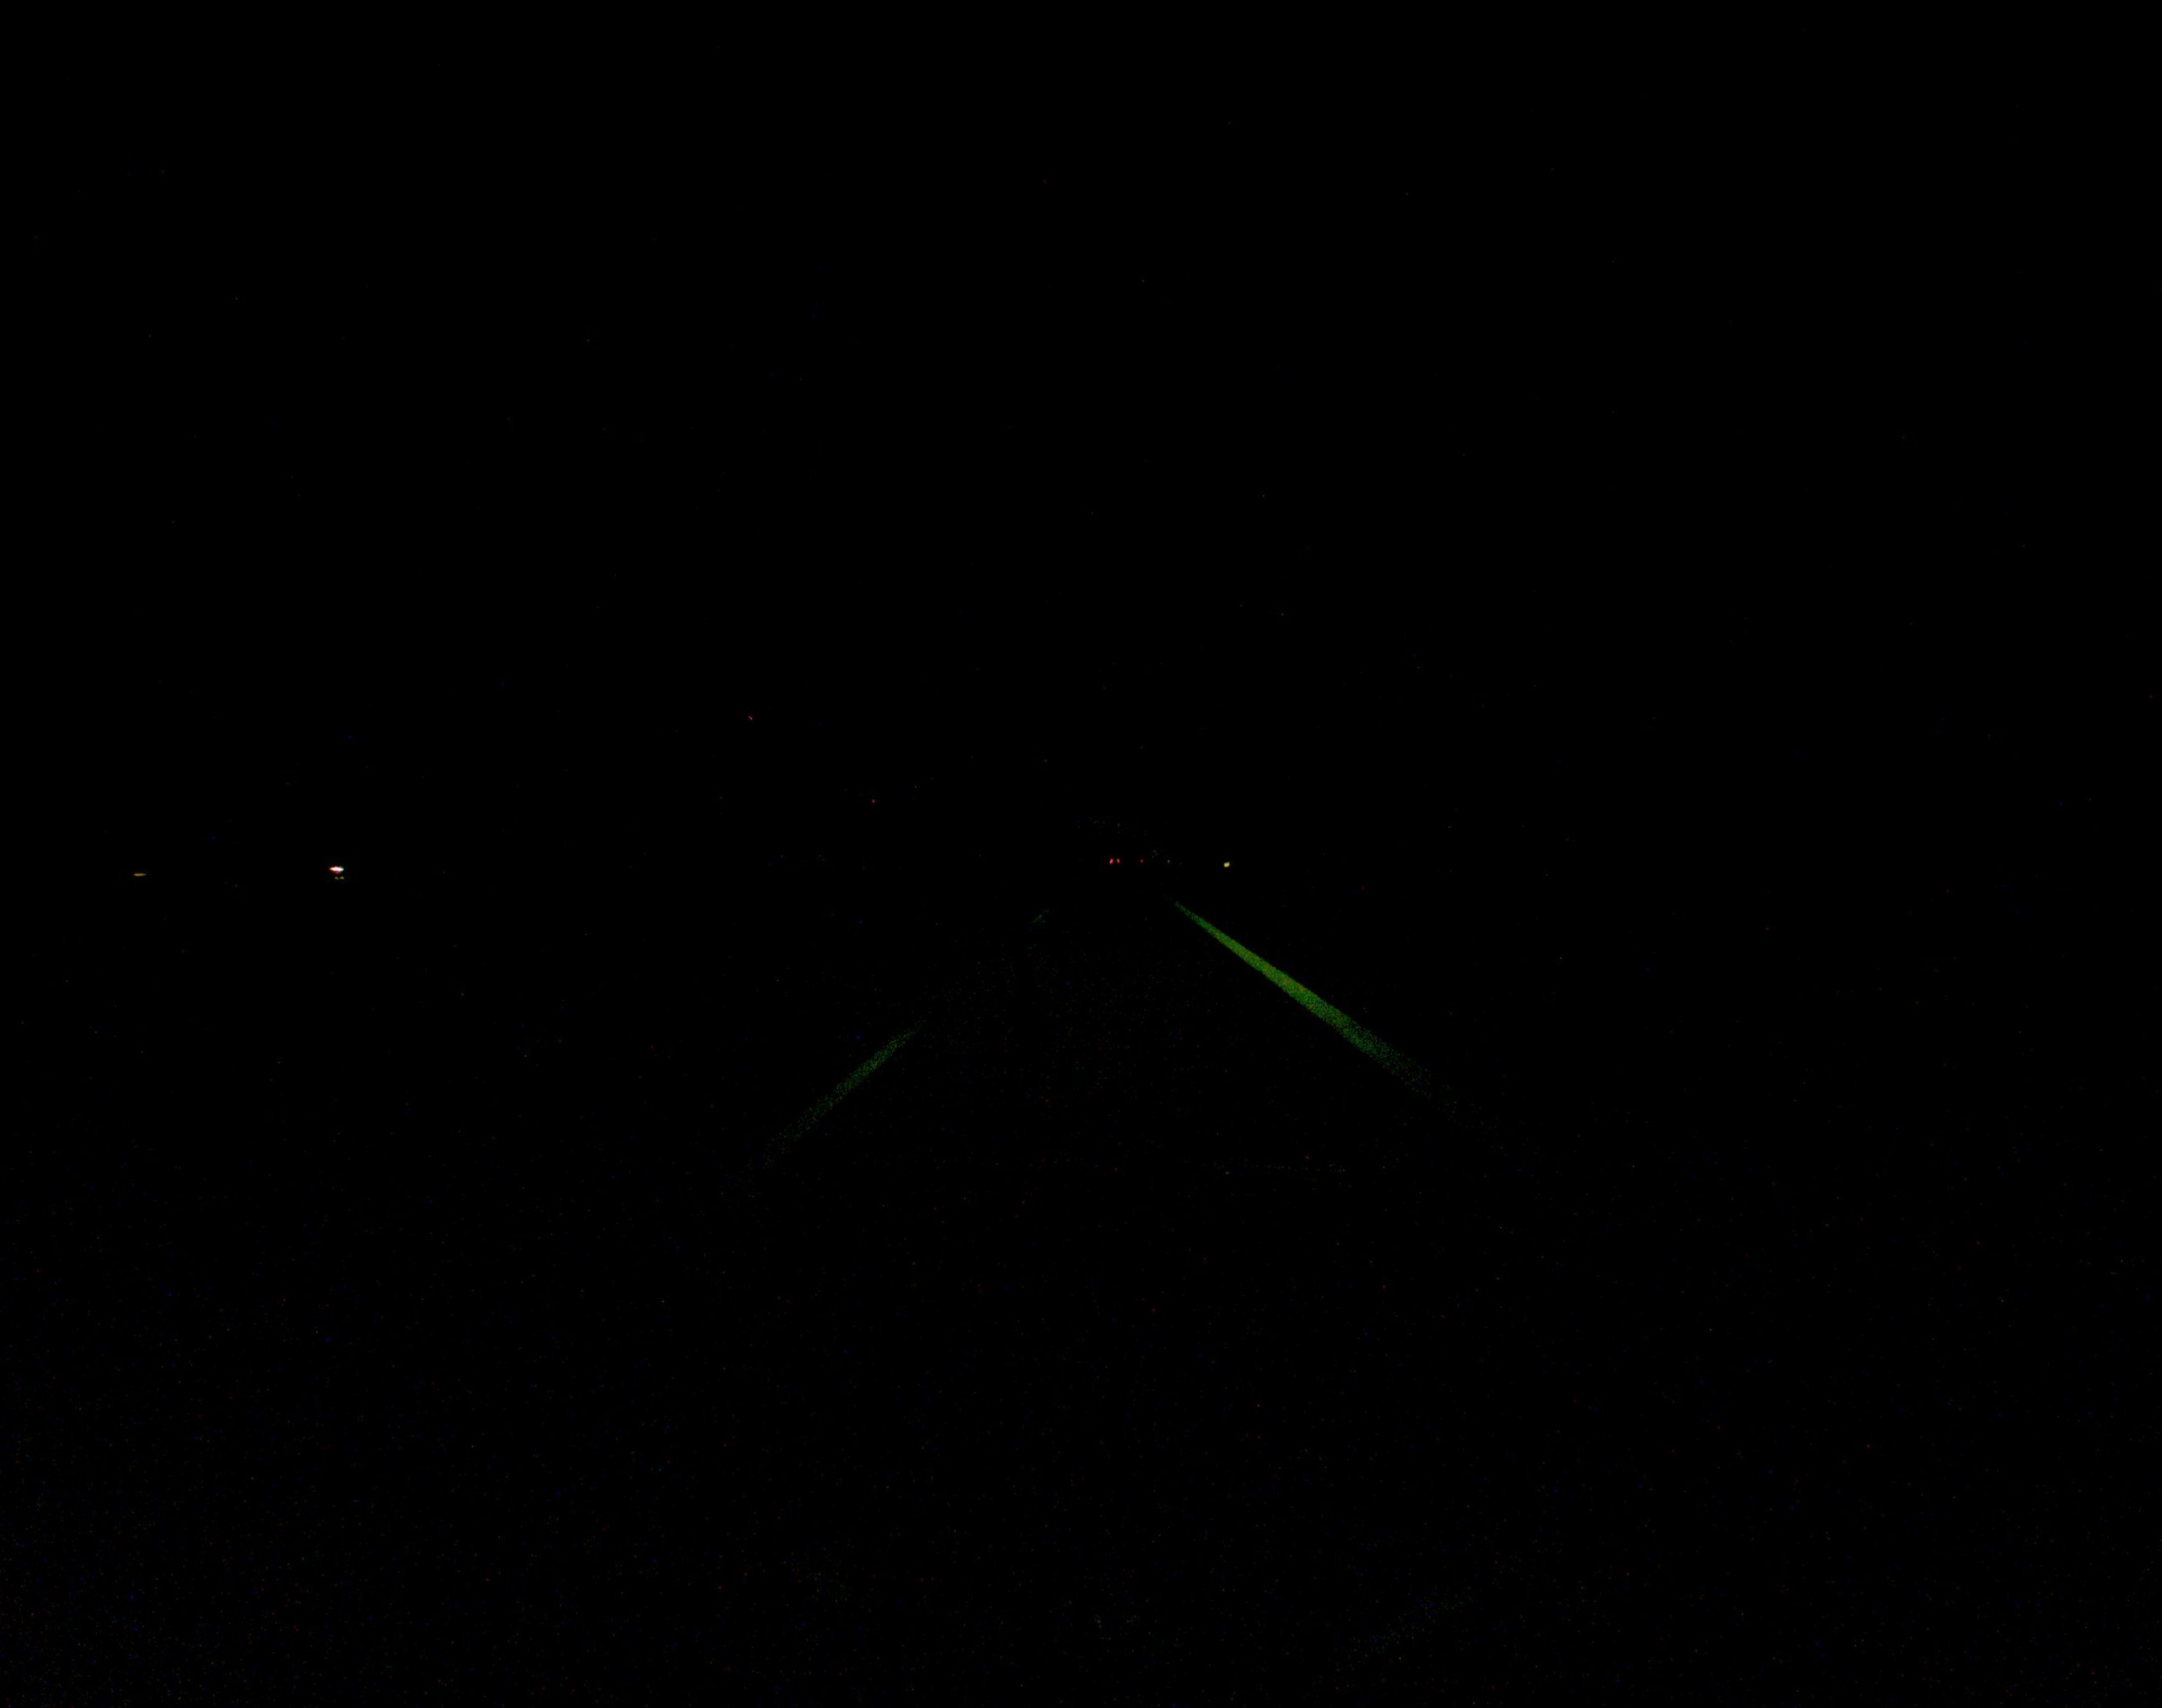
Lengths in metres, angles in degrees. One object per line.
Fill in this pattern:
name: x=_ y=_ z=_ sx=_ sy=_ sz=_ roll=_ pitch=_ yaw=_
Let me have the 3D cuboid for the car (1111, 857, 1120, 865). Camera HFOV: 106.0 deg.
car: x=9.885 y=1.936 z=232.879 sx=2.498 sy=2.314 sz=4.978 roll=-1 pitch=-1 yaw=6
